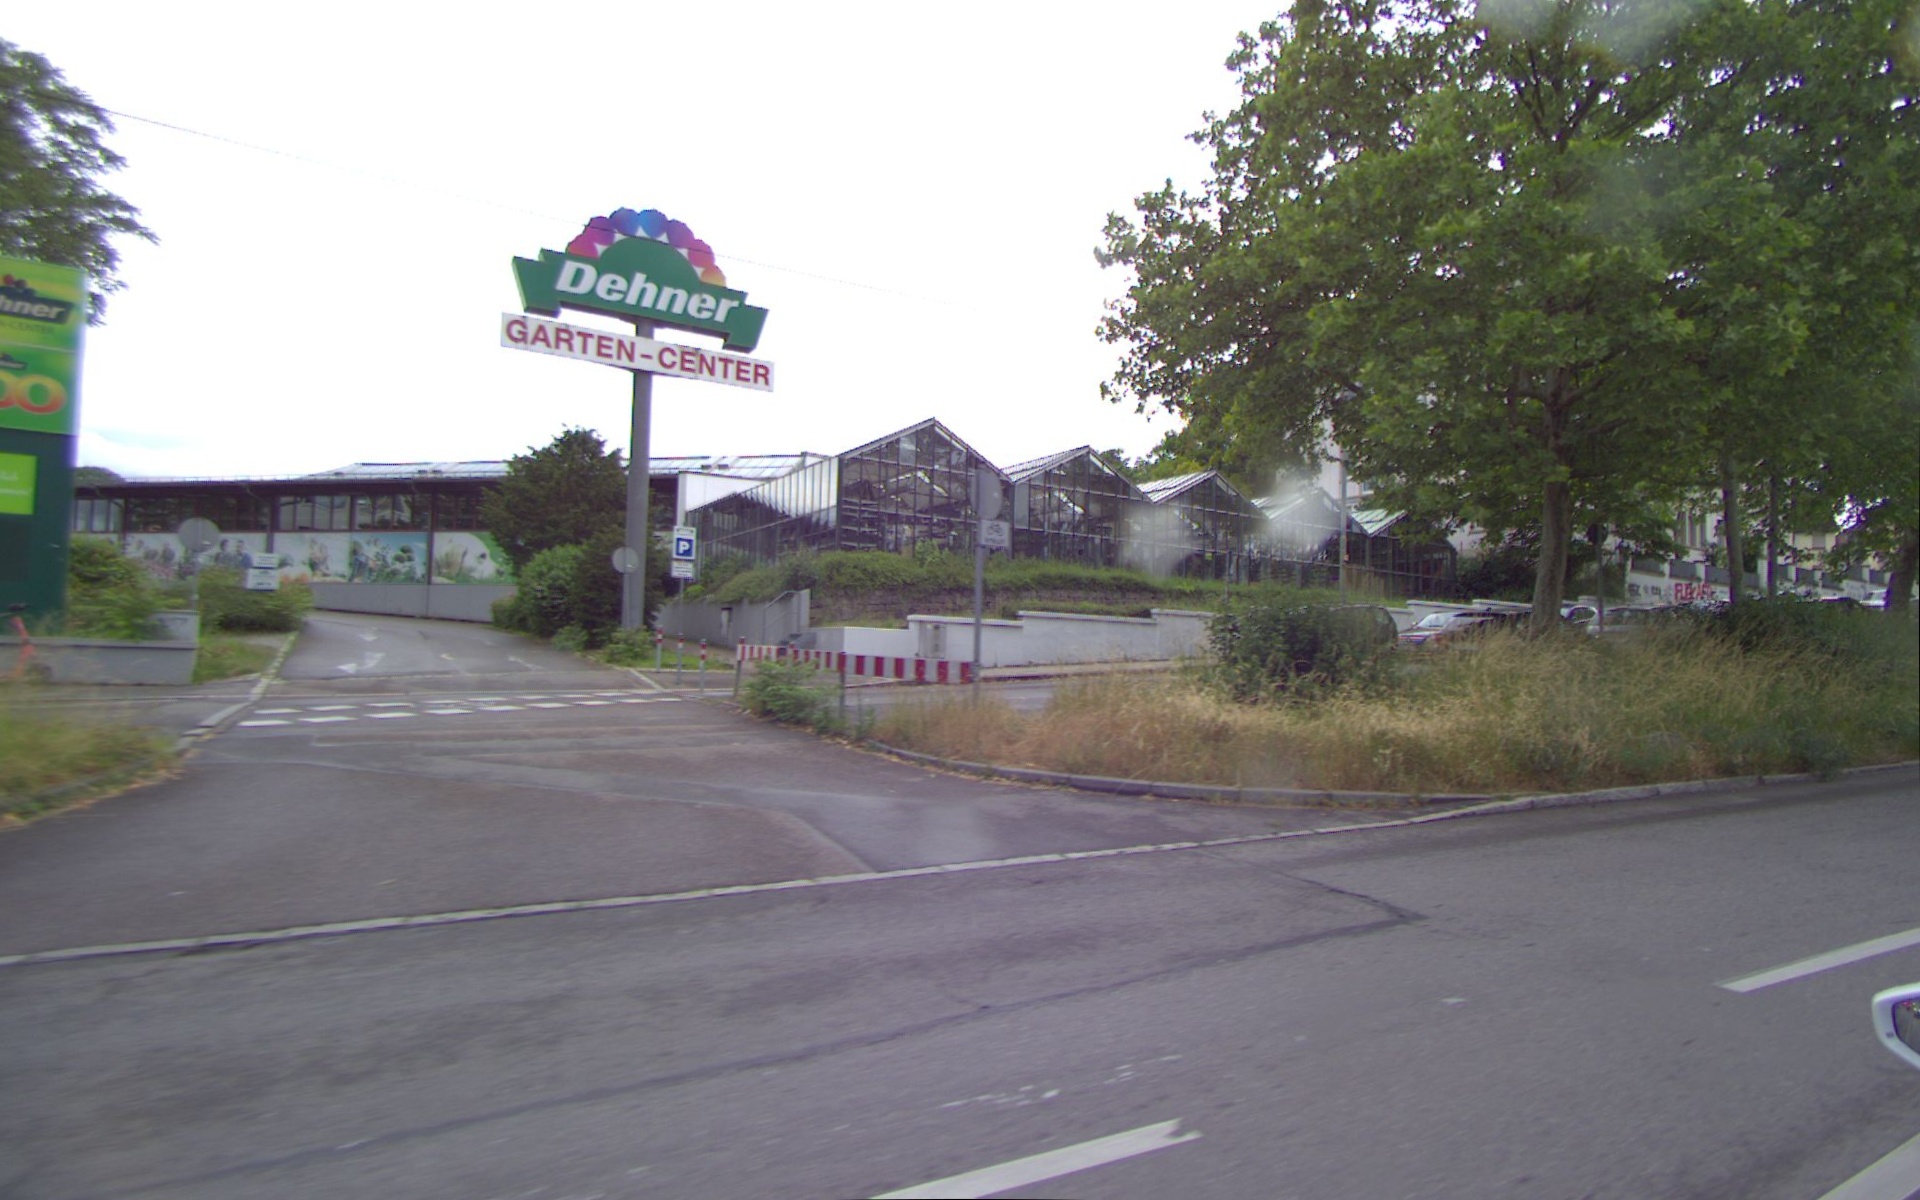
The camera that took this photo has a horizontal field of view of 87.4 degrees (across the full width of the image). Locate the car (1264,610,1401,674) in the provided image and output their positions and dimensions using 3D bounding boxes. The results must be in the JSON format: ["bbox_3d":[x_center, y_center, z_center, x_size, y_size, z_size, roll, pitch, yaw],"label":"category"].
[{"bbox_3d":[9.817,1.129,26.442,3.479,1.506,1.640,4,-4,-32],"label":"car"}]

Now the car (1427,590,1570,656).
[{"bbox_3d":[10.642,0.490,19.830,2.723,1.145,1.343,4,-4,-32],"label":"car"}]

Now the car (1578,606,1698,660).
[{"bbox_3d":[15.708,0.792,23.263,2.723,1.110,1.343,4,-4,-32],"label":"car"}]

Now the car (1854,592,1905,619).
[{"bbox_3d":[45.150,0.301,49.321,2.424,1.148,1.208,4,-4,-30],"label":"car"}]

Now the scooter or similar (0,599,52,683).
[{"bbox_3d":[-14.647,0.618,15.305,1.118,1.261,0.492,1,-1,-32],"label":"scooter or similar"}]

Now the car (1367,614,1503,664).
[{"bbox_3d":[14.177,1.186,29.932,4.078,1.307,1.806,4,-4,-32],"label":"car"}]

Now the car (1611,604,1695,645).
[{"bbox_3d":[25.305,0.927,36.645,3.050,1.326,1.354,4,-4,-30],"label":"car"}]
